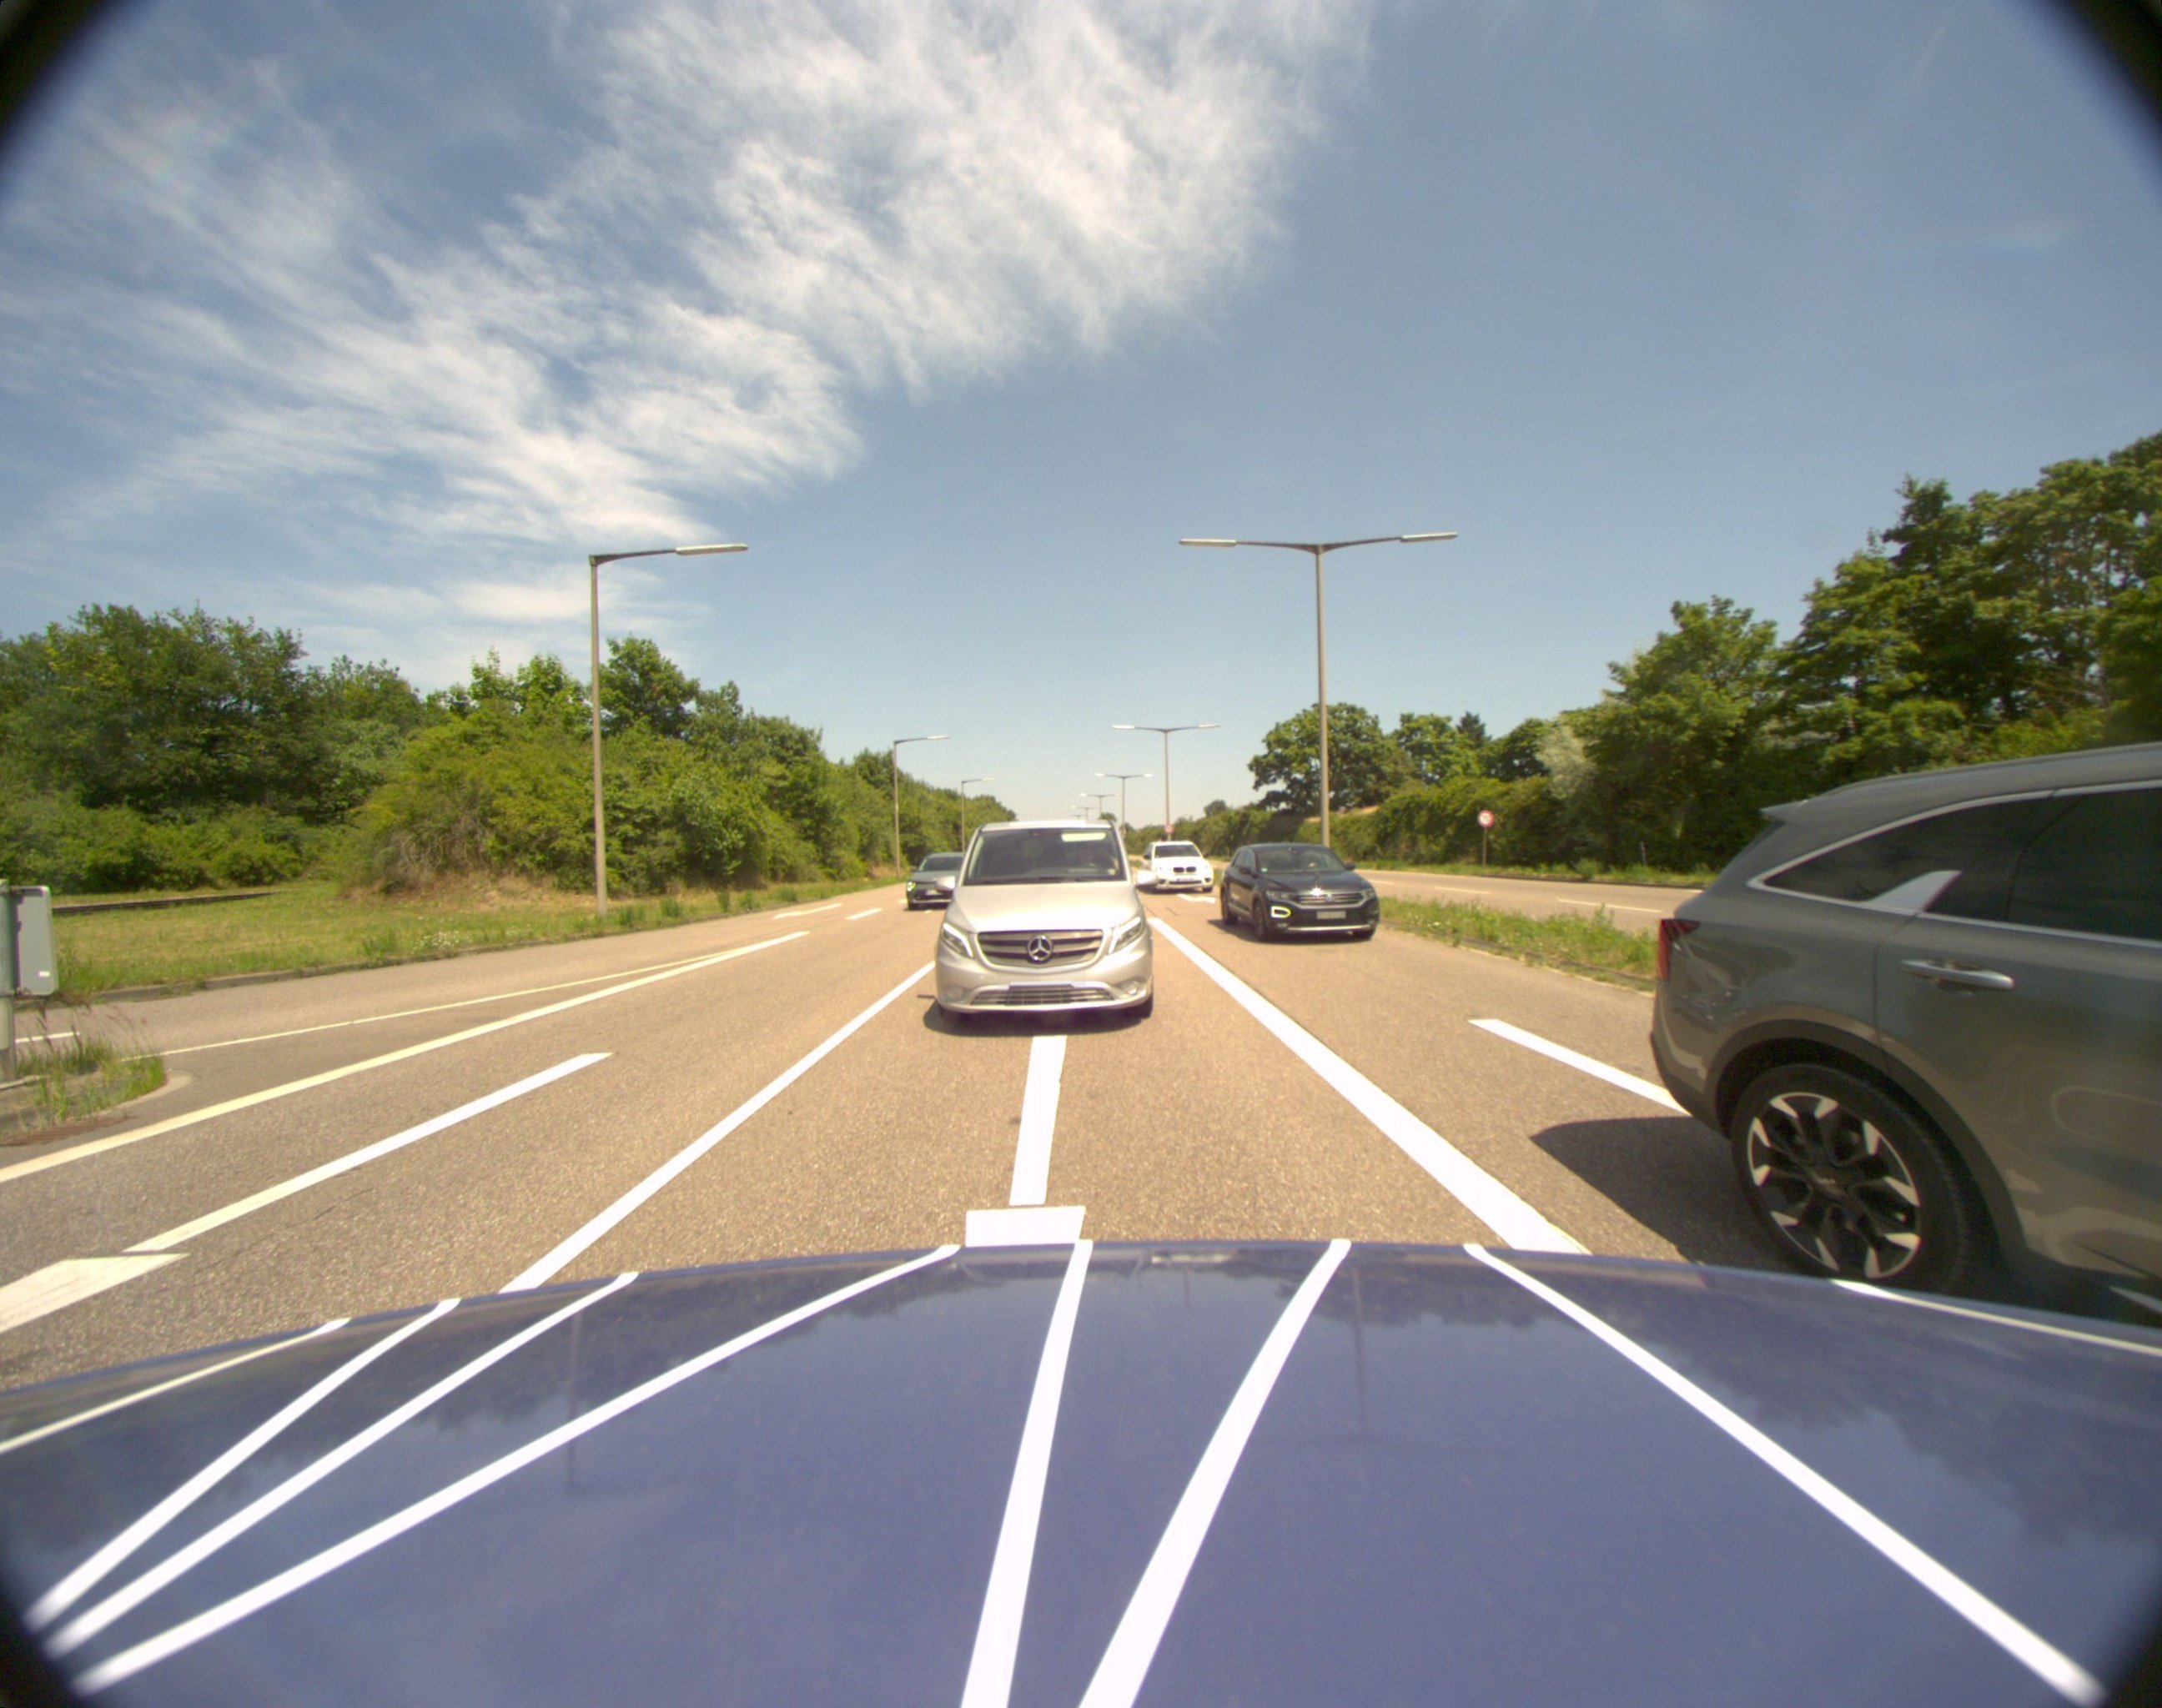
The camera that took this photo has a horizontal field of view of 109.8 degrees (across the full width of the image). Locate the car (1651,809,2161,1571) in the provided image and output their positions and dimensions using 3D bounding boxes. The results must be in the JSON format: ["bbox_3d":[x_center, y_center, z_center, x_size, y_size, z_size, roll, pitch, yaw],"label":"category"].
[{"bbox_3d":[3.231,0.722,0.843,1.785,1.658,4.530,-1,1,0],"label":"car"}]

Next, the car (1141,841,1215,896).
[{"bbox_3d":[3.187,0.419,25.621,1.921,1.662,4.001,-1,1,-1],"label":"car"}]

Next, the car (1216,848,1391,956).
[{"bbox_3d":[3.557,0.672,12.920,1.753,1.491,3.999,-2,1,0],"label":"car"}]

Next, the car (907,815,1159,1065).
[{"bbox_3d":[-0.304,0.630,8.638,1.876,1.866,5.732,-1,1,1],"label":"car"}]

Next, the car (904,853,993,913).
[{"bbox_3d":[-3.801,0.783,22.439,1.722,1.587,4.000,-1,1,3],"label":"car"}]
